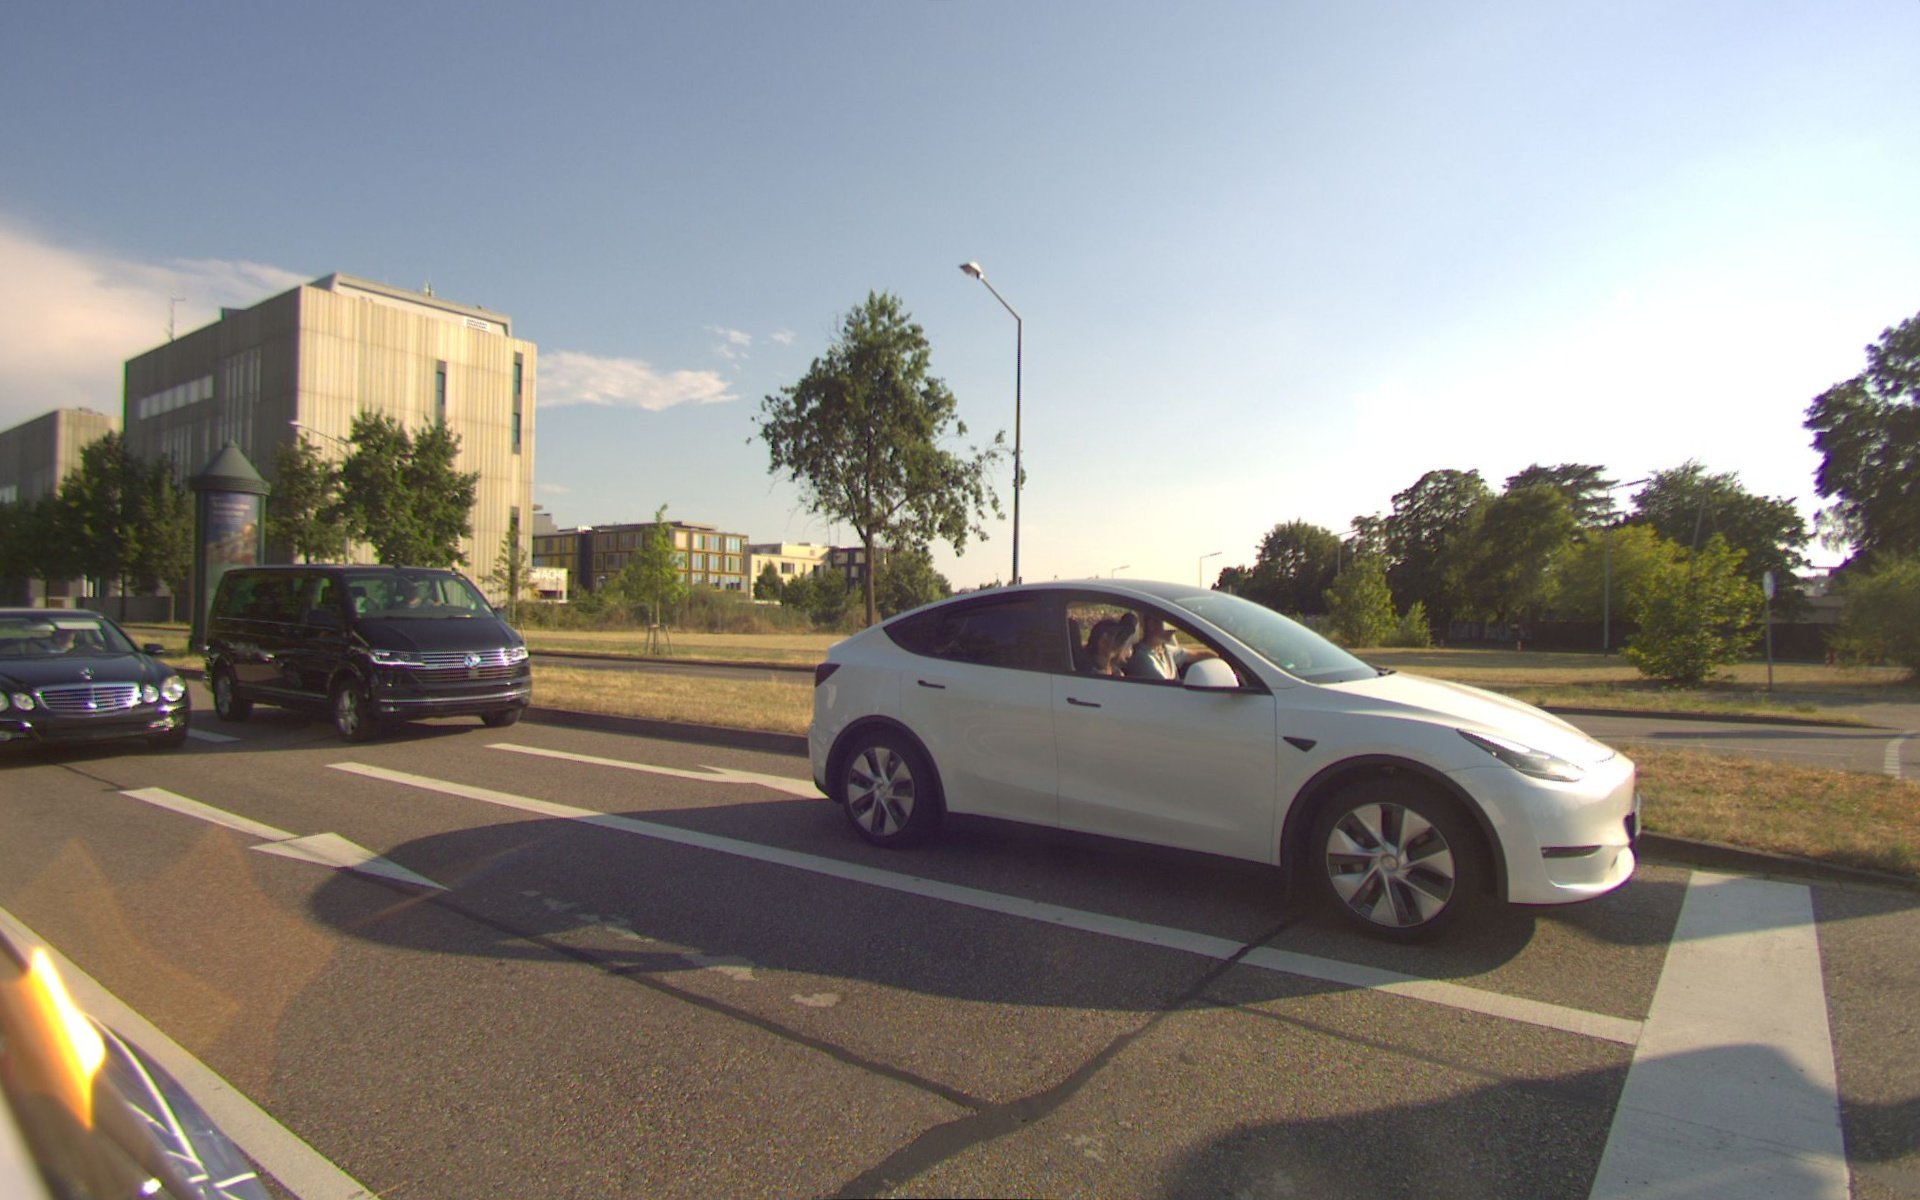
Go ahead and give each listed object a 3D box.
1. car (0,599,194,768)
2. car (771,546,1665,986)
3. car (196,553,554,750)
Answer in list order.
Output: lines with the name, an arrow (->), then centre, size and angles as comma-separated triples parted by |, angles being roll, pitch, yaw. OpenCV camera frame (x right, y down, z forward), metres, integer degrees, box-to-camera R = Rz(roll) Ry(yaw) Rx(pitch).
car -> -9.601, 0.750, 10.596 | 4.494, 1.448, 1.786 | -1, -1, 43
car -> 1.177, 0.626, 5.788 | 4.667, 1.611, 1.719 | -1, 0, 36
car -> -7.172, 0.509, 12.199 | 5.002, 1.946, 1.840 | 0, 0, 35
